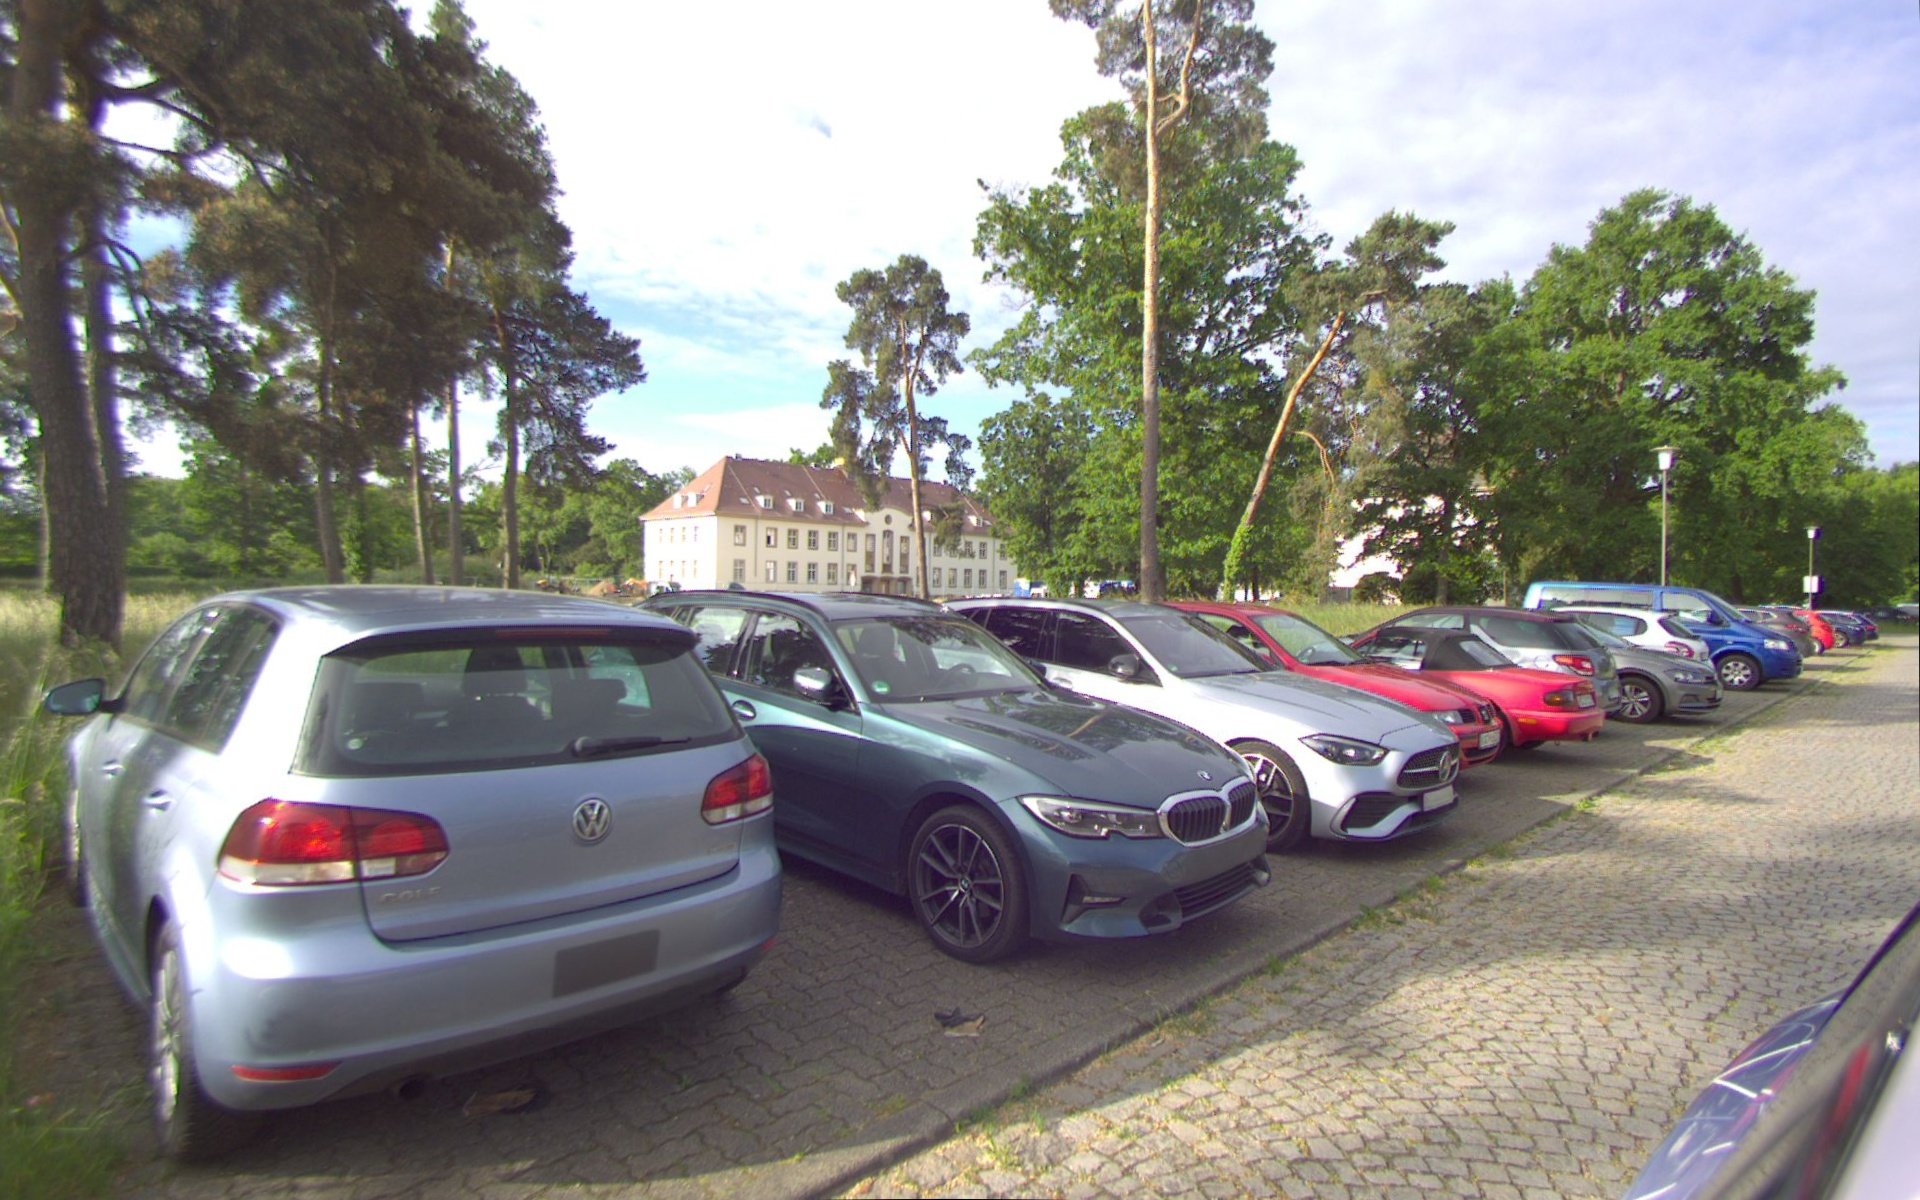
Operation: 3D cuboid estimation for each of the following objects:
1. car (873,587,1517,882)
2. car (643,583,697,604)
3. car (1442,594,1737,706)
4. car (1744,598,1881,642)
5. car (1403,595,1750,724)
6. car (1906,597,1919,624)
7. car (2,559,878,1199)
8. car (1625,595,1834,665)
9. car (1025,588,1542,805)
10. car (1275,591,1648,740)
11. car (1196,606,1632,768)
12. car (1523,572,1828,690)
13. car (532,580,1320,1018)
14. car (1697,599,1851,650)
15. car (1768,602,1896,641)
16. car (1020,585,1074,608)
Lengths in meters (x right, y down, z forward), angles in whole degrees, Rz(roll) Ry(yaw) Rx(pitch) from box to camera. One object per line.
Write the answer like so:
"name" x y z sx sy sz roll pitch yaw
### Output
"car" 1.481 0.698 7.700 1.819 1.492 4.510 0 2 -45
"car" -29.877 -0.673 104.294 5.637 2.039 2.596 1 1 39
"car" 10.422 0.729 16.942 1.778 1.549 3.878 0 2 -44
"car" 34.598 0.759 41.135 1.718 1.588 4.128 0 2 -45
"car" 8.763 0.732 14.616 1.801 1.485 3.954 0 2 -44
"car" 74.442 0.829 75.860 1.967 2.067 5.068 1 0 -45
"car" -2.563 0.615 4.235 4.544 1.524 1.903 2 2 44
"car" 20.318 0.724 26.828 4.192 1.608 1.848 2 2 45
"car" 2.810 0.677 9.538 1.712 1.492 4.344 0 2 -45
"car" 6.302 0.696 13.023 1.743 1.514 3.954 0 2 -44
"car" 4.720 0.775 10.926 1.698 1.276 3.954 0 2 -44
"car" 14.328 0.506 20.480 4.736 1.952 1.960 4 3 45
"car" -0.510 0.676 5.827 4.504 1.492 1.867 2 2 42
"car" 27.350 0.778 34.076 3.879 1.491 1.660 3 2 45
"car" 38.044 0.897 44.216 1.753 1.468 4.032 0 2 -42
"car" 9.081 -0.347 105.523 5.860 2.328 2.165 0 1 -43
